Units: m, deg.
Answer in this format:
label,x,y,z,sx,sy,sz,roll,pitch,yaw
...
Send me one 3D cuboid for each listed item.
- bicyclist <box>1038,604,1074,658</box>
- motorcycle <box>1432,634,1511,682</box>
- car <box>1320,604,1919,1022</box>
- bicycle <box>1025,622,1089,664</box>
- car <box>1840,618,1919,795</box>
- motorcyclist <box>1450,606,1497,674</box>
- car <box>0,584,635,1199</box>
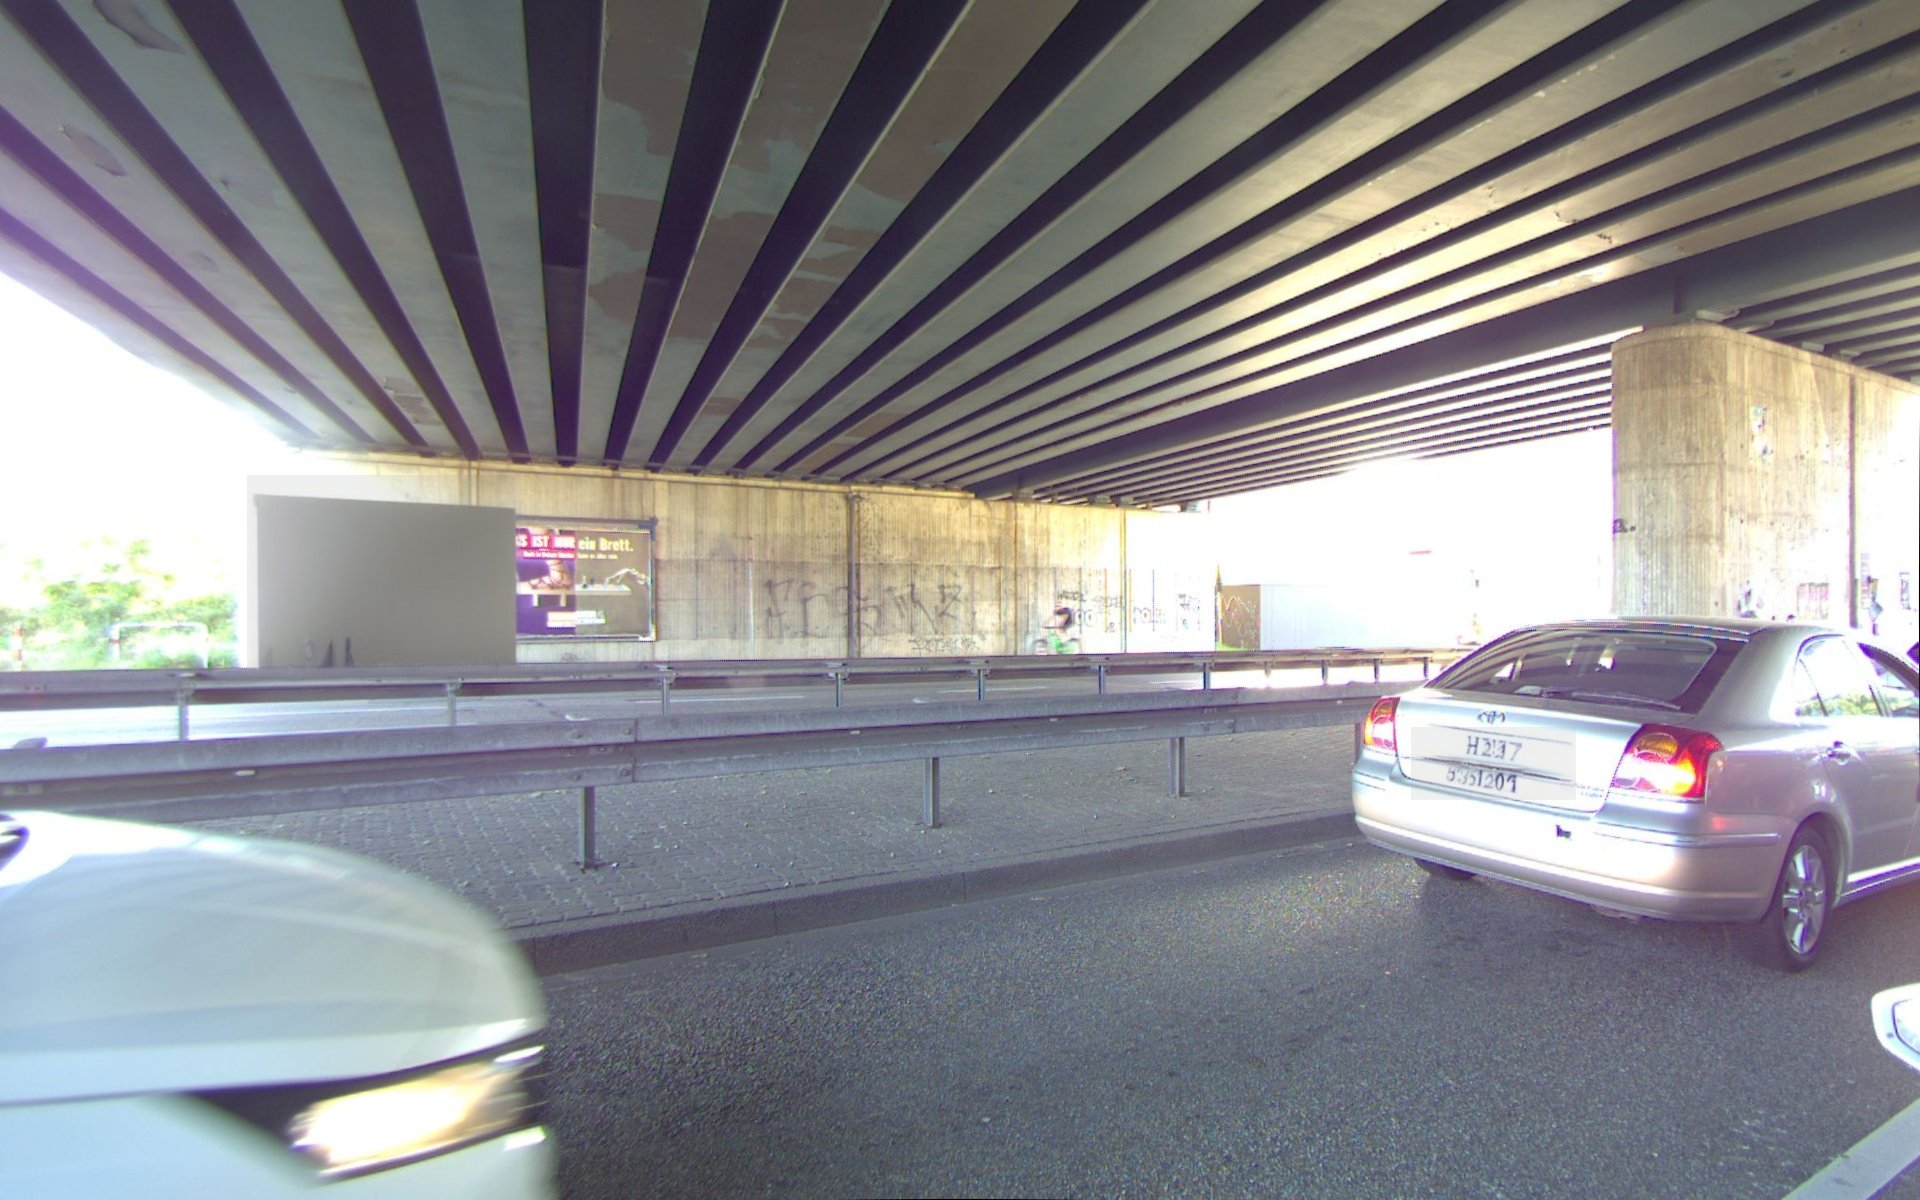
label,x,y,z,sx,sy,sz,roll,pitch,yaw
bicyclist,2.830,0.917,29.587,0.827,1.545,0.624,2,0,-30
motorcycle,11.973,1.333,23.476,1.985,1.041,0.689,0,0,-30
car,4.107,0.804,5.454,4.347,1.474,1.688,1,0,-31
bicycle,2.868,1.272,29.616,1.856,1.181,0.631,2,0,-30
car,9.607,0.912,8.883,3.770,1.429,1.684,1,0,-31
motorcyclist,11.992,0.926,23.474,0.690,1.548,0.693,0,1,-30
car,-2.572,0.680,1.270,3.828,1.423,1.723,0,0,-32
